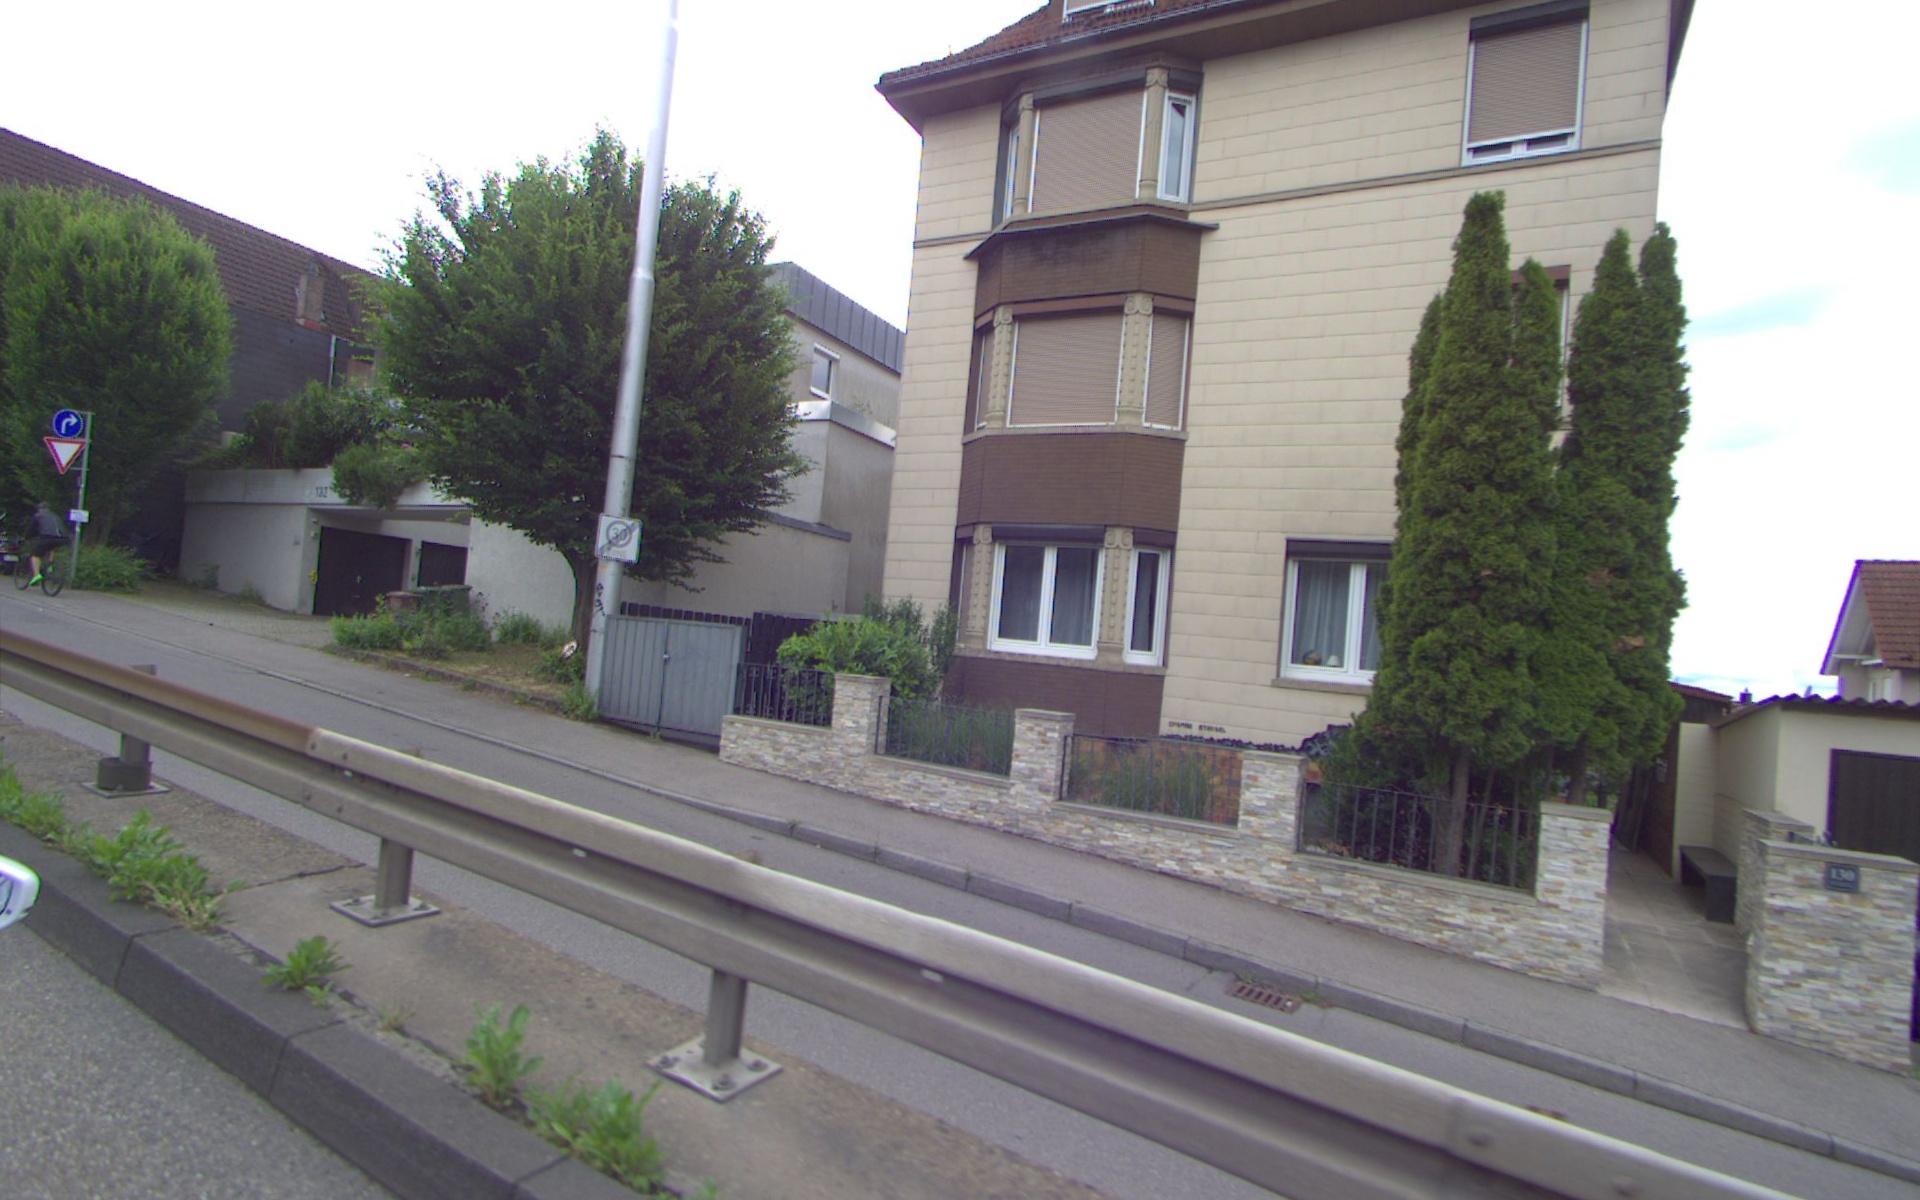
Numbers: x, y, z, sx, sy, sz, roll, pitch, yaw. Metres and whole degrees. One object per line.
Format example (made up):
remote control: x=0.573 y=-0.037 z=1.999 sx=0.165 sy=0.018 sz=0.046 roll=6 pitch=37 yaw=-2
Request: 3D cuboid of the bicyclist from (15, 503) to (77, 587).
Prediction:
bicyclist: x=-18.193 y=-1.089 z=20.019 sx=0.942 sy=1.545 sz=0.567 roll=8 pitch=3 yaw=29

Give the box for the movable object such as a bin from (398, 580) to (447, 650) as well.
movable object such as a bin: x=-10.811 y=0.303 z=20.245 sx=0.529 sy=1.287 sz=0.495 roll=8 pitch=-1 yaw=31

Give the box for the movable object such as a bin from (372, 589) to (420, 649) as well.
movable object such as a bin: x=-11.094 y=0.381 z=19.803 sx=0.529 sy=1.069 sz=0.495 roll=8 pitch=-1 yaw=31

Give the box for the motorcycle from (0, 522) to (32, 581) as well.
motorcycle: x=-21.508 y=-1.133 z=22.425 sx=2.007 sy=1.176 sz=0.609 roll=8 pitch=1 yaw=32

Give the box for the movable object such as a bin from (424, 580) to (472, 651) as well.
movable object such as a bin: x=-10.611 y=0.325 z=20.843 sx=0.529 sy=1.379 sz=0.495 roll=8 pitch=-1 yaw=31

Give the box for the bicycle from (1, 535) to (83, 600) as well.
bicycle: x=-18.358 y=-0.655 z=20.106 sx=1.971 sy=1.077 sz=0.567 roll=8 pitch=3 yaw=29

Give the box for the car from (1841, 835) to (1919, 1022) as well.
car: x=9.035 y=3.058 z=7.644 sx=1.673 sy=1.451 sz=3.616 roll=12 pitch=1 yaw=10
